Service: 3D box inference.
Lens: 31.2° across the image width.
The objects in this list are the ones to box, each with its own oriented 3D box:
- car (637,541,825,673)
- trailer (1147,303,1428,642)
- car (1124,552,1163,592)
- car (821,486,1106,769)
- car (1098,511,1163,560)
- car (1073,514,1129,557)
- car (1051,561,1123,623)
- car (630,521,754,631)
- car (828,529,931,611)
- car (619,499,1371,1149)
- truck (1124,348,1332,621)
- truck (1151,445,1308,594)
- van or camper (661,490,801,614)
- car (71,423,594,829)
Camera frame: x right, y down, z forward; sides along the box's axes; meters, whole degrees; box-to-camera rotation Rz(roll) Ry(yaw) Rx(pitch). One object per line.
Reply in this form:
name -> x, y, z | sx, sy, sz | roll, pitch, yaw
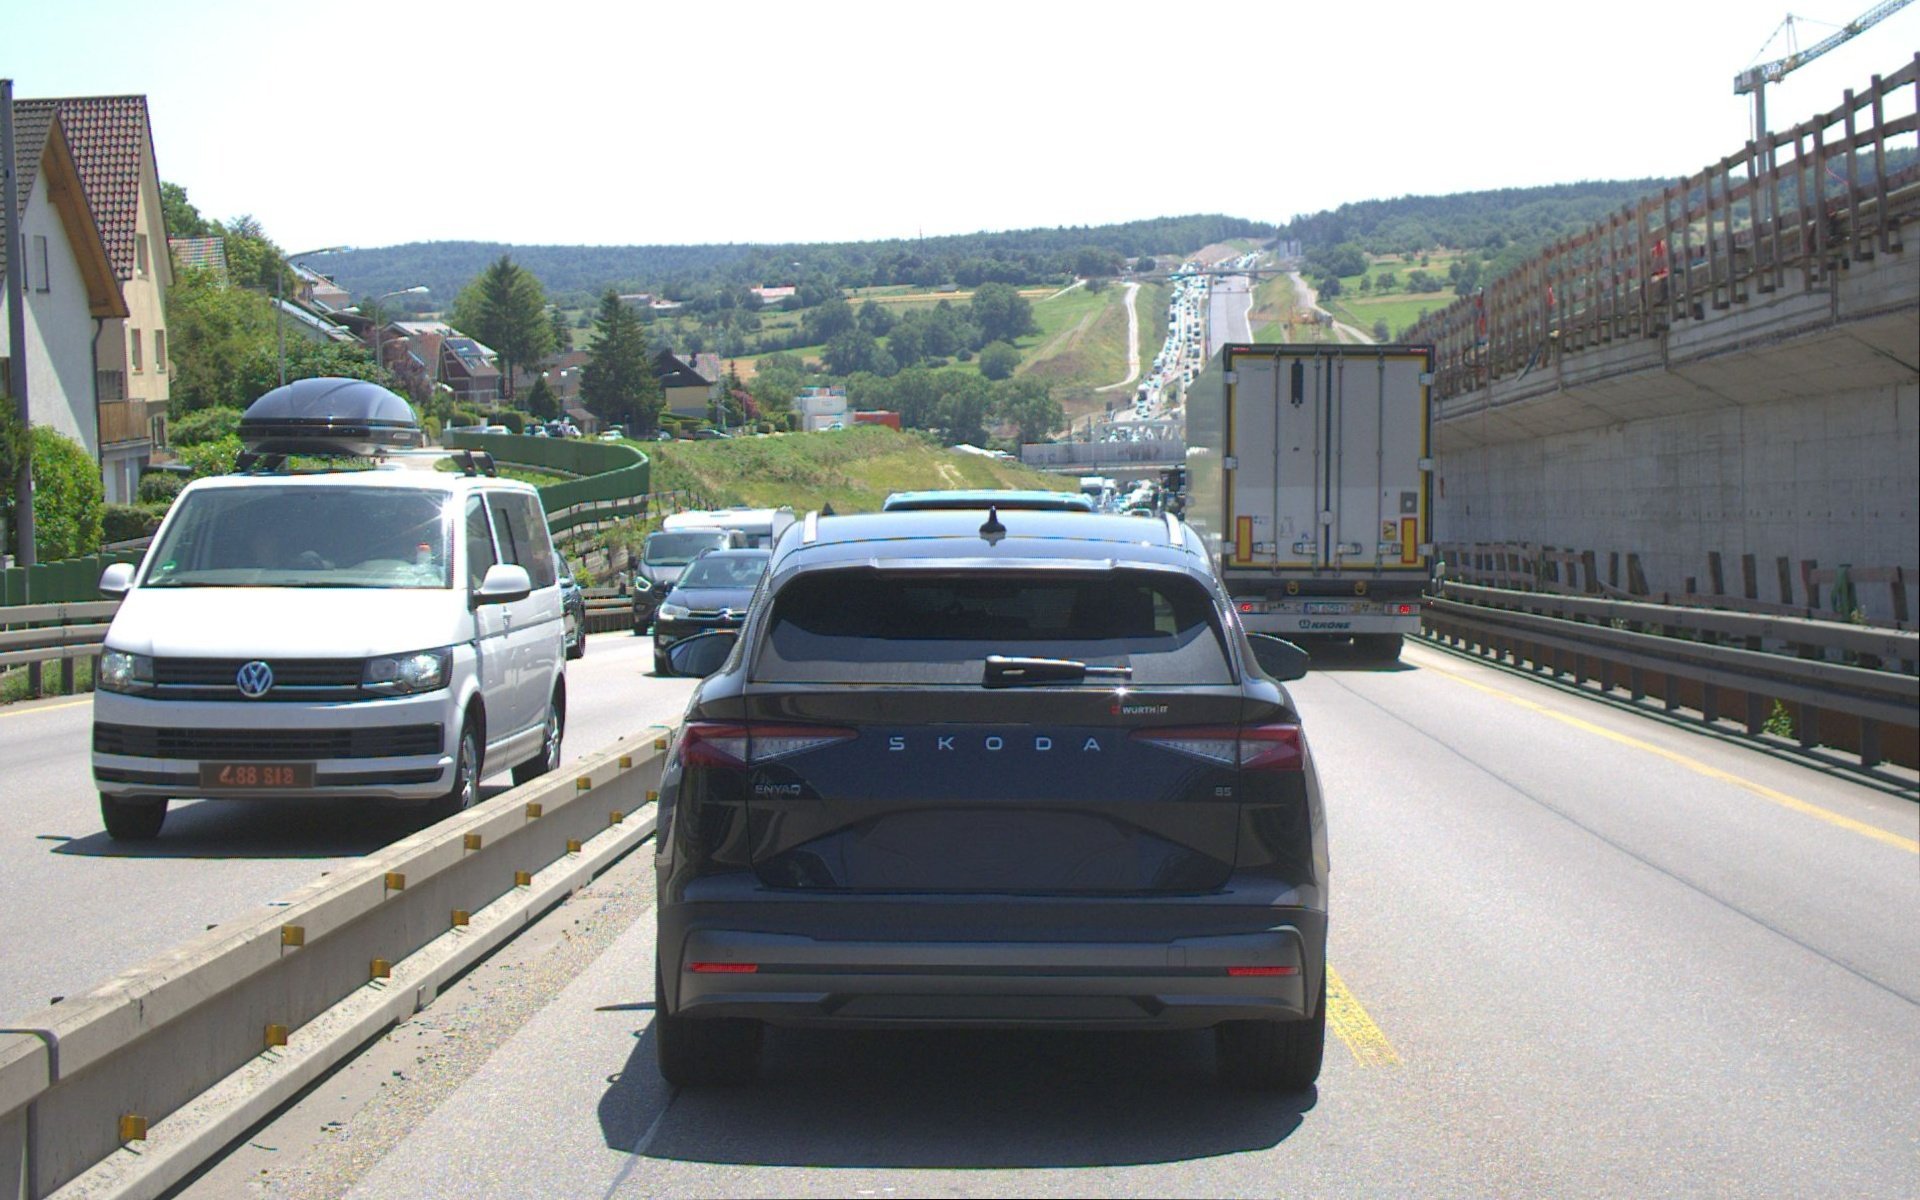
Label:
car -> -2.727, 0.086, 41.914 | 1.993, 1.499, 4.649 | 1, 0, 0
trailer -> 4.302, -1.540, 47.652 | 2.531, 4.113, 11.548 | 1, 0, -1
car -> 8.228, -1.259, 153.559 | 1.701, 1.722, 3.836 | 1, 0, 3
car -> -0.056, 0.134, 24.970 | 1.706, 1.875, 4.001 | 1, 1, -5
car -> 5.822, -2.196, 117.572 | 1.993, 1.579, 3.836 | 1, 0, 0
car -> 5.553, -2.526, 135.788 | 1.993, 1.579, 3.836 | 1, 0, 0
car -> 3.489, -0.237, 94.967 | 1.707, 1.616, 4.001 | 1, 1, -1
car -> -5.088, -0.438, 65.649 | 1.993, 2.007, 4.000 | 1, 0, 1
car -> -1.580, -0.576, 68.922 | 1.872, 1.581, 4.479 | 1, 0, 1
car -> -0.072, 0.557, 10.391 | 1.842, 1.581, 3.908 | 1, 0, -5
truck -> 4.156, -1.695, 54.900 | 2.513, 4.011, 8.238 | 1, 0, -1
truck -> 6.183, -1.753, 80.770 | 3.195, 3.180, 12.807 | 0, 0, 2
van or camper -> -4.835, -0.977, 73.590 | 2.354, 2.508, 6.327 | 1, 0, 2
car -> -3.311, 0.130, 19.166 | 2.022, 1.954, 4.899 | 1, 0, 0
